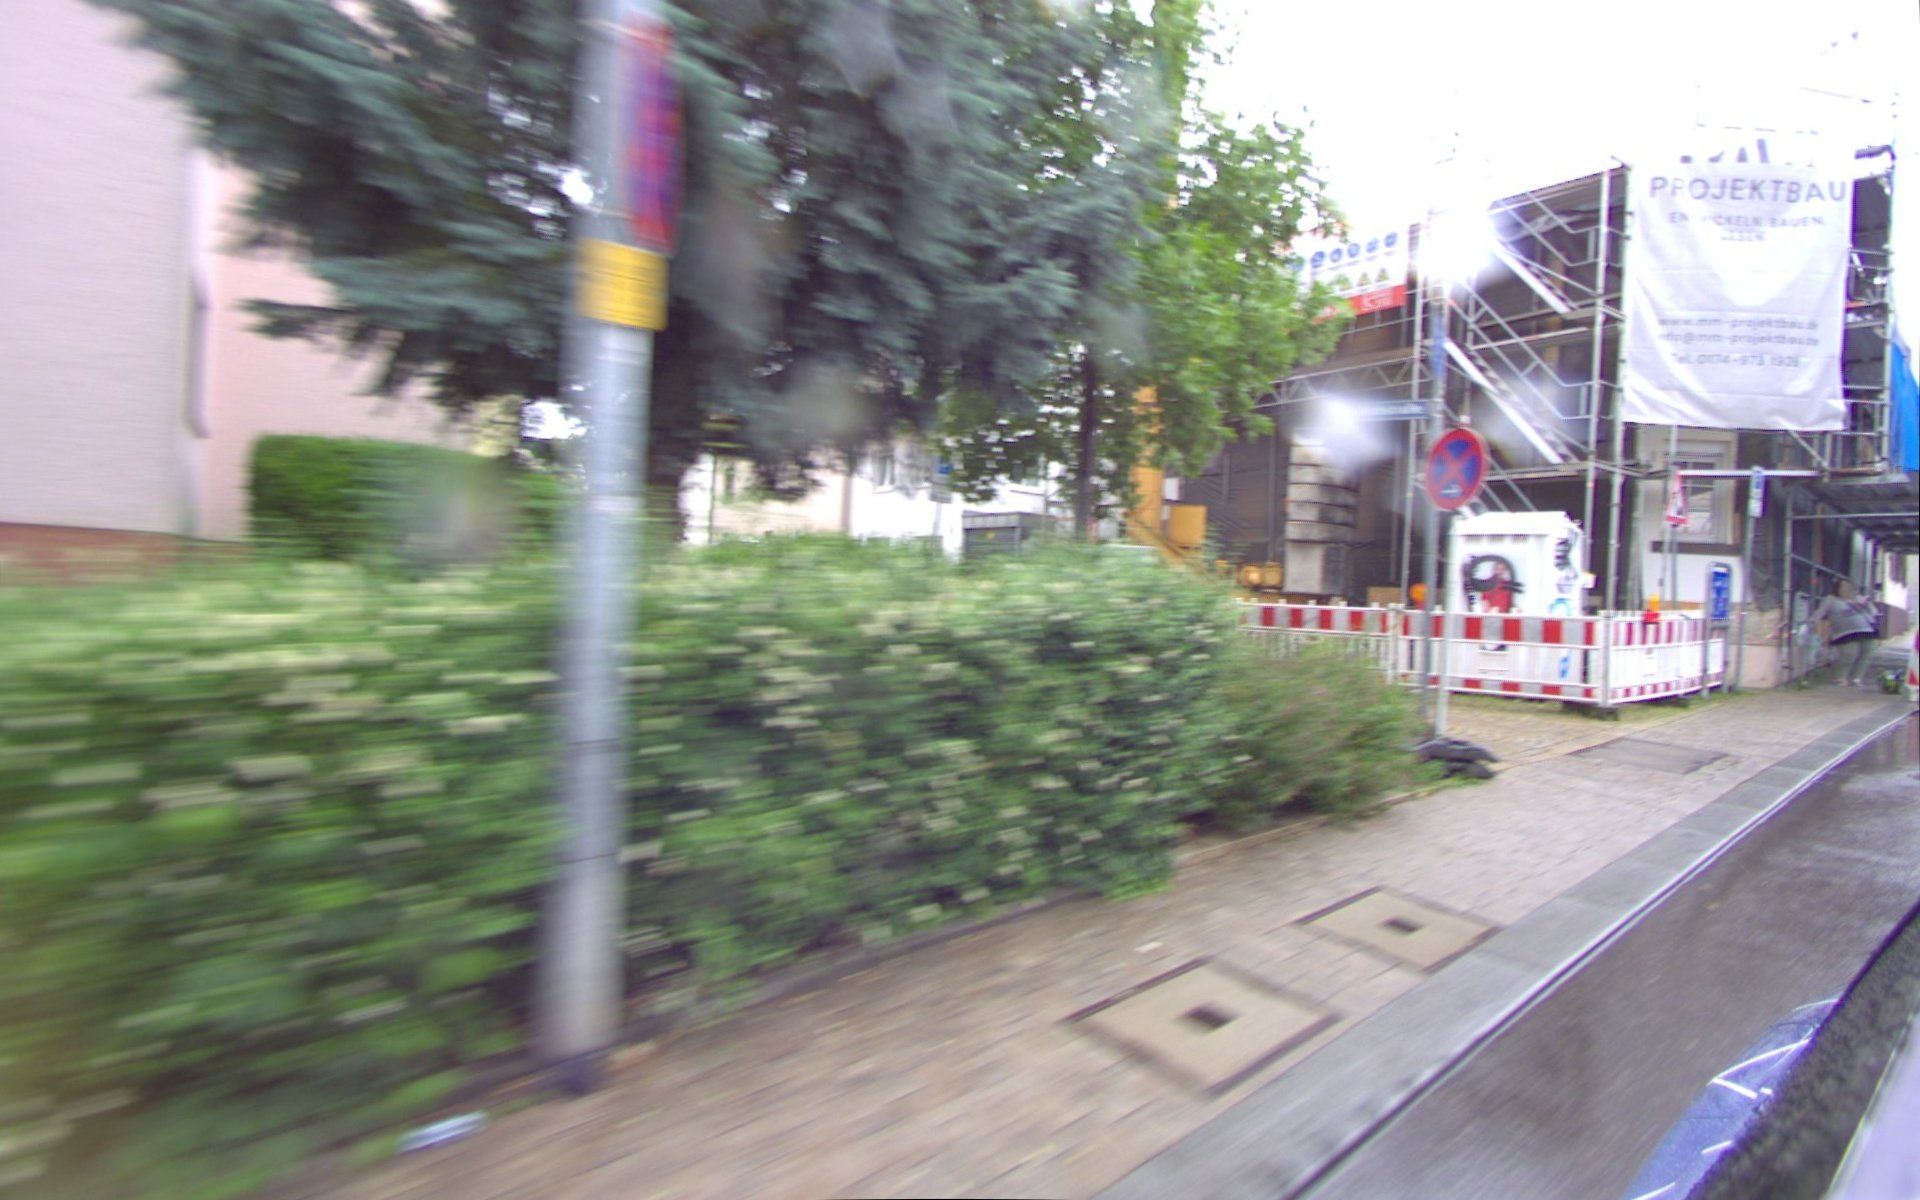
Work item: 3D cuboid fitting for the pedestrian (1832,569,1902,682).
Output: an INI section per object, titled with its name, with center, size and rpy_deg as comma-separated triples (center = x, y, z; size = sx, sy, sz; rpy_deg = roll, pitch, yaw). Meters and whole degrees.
[pedestrian]
center = 13.286, 0.354, 14.829
size = 0.429, 1.600, 0.655
rpy_deg = 0, 3, -42
